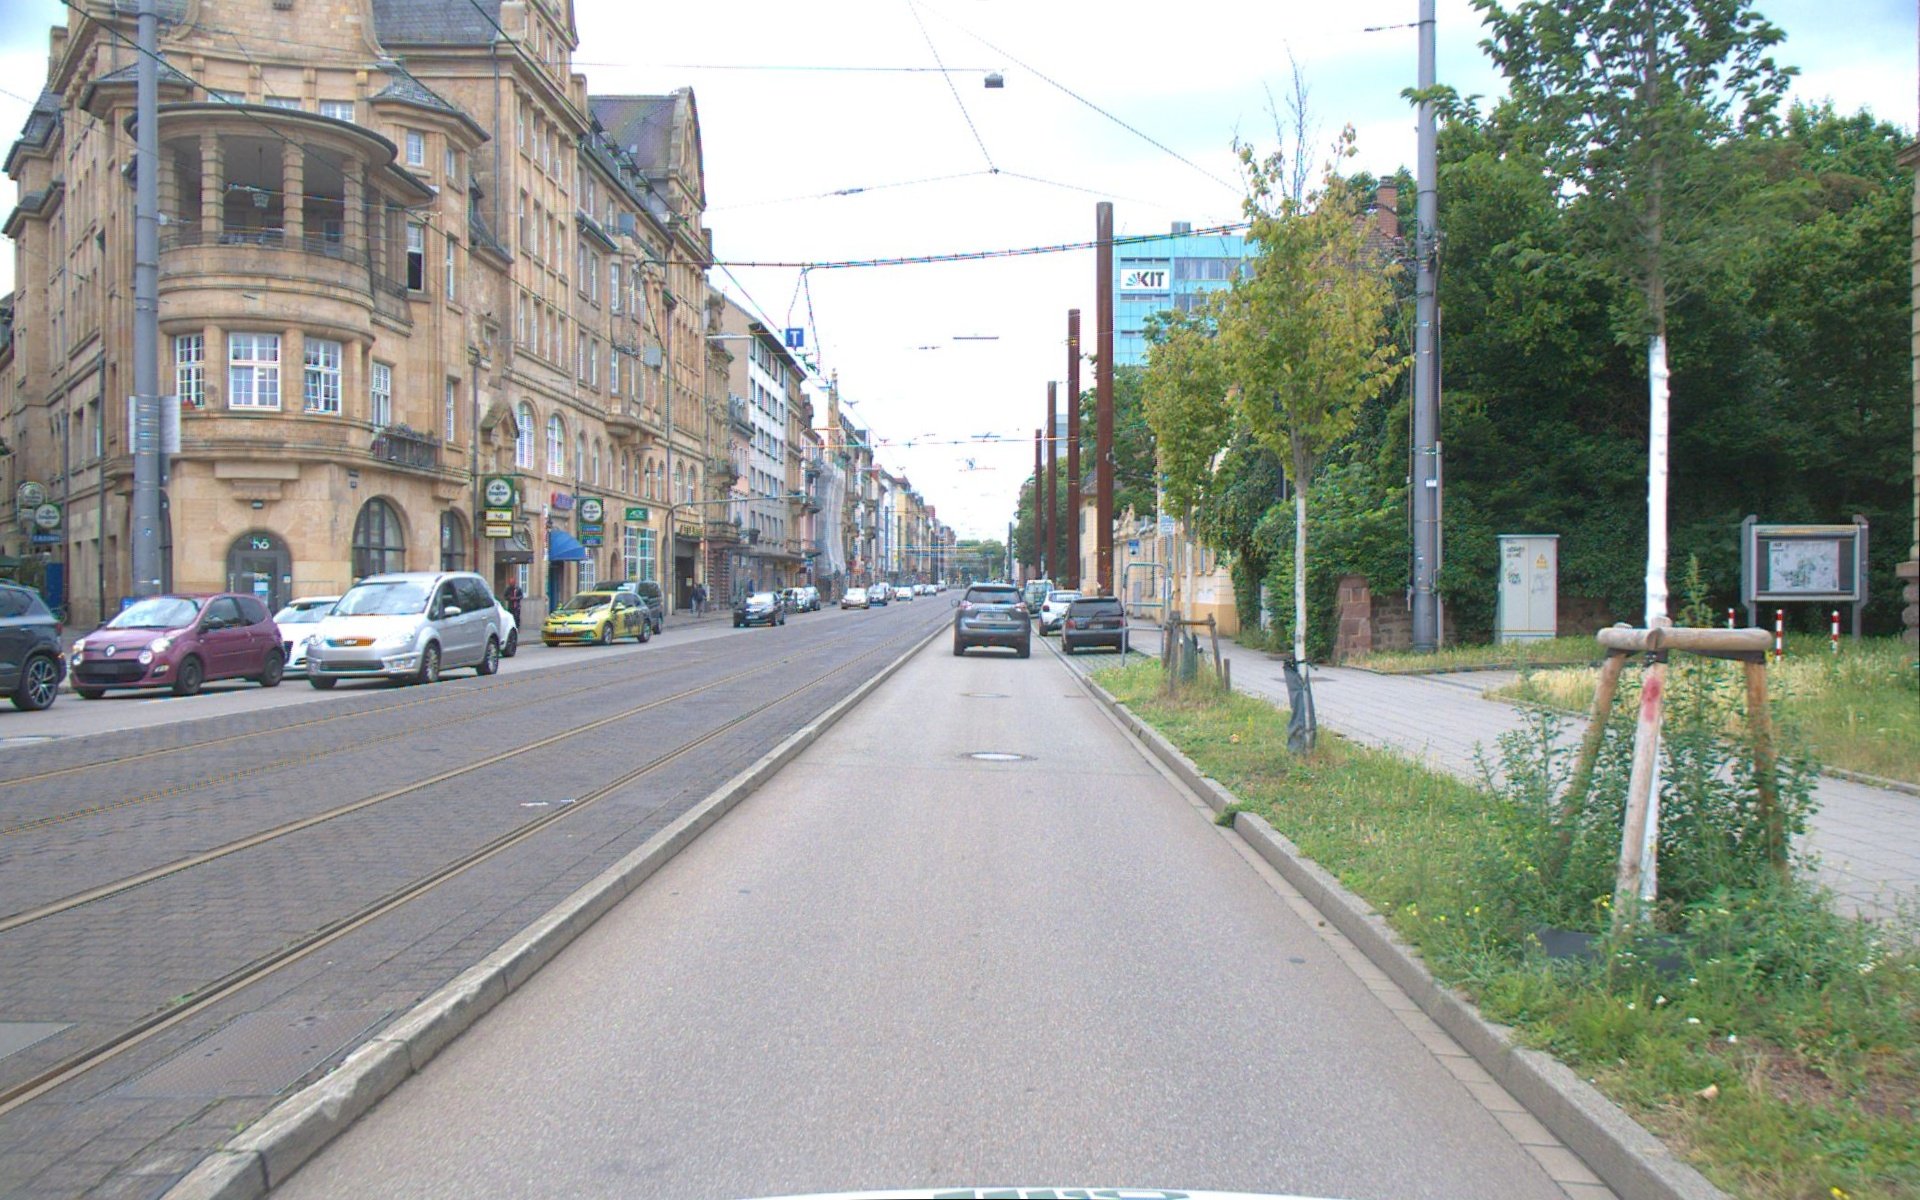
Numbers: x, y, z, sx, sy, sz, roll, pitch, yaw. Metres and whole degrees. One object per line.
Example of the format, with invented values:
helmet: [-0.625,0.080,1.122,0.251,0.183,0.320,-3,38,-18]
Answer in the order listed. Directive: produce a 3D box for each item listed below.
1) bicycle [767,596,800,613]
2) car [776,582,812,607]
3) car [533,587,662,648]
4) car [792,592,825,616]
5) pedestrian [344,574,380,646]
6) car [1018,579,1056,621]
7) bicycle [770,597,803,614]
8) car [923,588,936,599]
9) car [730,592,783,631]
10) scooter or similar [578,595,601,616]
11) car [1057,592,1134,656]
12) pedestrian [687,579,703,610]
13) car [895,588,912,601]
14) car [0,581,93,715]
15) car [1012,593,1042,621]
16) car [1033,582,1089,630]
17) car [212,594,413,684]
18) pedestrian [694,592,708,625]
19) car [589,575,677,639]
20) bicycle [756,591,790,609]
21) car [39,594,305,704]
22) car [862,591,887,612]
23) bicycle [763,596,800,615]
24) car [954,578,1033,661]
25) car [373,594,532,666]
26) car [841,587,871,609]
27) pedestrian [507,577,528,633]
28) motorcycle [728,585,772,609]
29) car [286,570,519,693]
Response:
bicycle: [-10.544,0.263,98.774,1.928,1.018,0.462,0,0,-7]
car: [-10.414,-0.384,104.052,1.739,1.531,4.402,0,1,1]
car: [-9.904,0.444,45.538,1.858,1.537,4.432,-1,1,10]
car: [-10.104,0.260,110.782,1.739,1.531,4.402,0,1,1]
pedestrian: [-14.620,0.231,40.438,0.618,1.749,0.532,0,0,27]
car: [4.158,-0.018,90.101,1.813,2.152,4.985,-2,0,1]
bicycle: [-10.467,0.321,99.743,1.928,1.018,0.462,0,0,-7]
car: [-4.708,-1.028,252.909,1.953,1.663,3.998,1,0,-2]
car: [-8.304,0.448,67.639,1.791,1.458,4.664,-2,1,-3]
scooter or similar: [-14.694,0.210,65.619,0.569,0.816,1.346,0,1,1]
car: [3.372,0.557,41.750,1.604,1.458,3.931,-2,1,1]
pedestrian: [-14.040,-0.276,87.632,0.671,1.641,0.742,0,0,1]
car: [-6.114,-0.608,180.187,1.652,1.445,4.135,0,1,1]
car: [-12.115,0.589,18.873,1.823,1.561,4.305,-2,0,6]
car: [4.235,0.446,104.800,1.713,1.623,3.924,-2,1,1]
car: [3.533,0.182,58.310,1.719,1.602,3.931,-2,1,1]
car: [-11.489,0.637,29.674,1.710,1.404,4.363,-2,0,2]
pedestrian: [-12.839,0.399,82.123,0.556,1.626,0.718,0,0,1]
car: [-11.095,0.188,56.480,1.860,2.011,5.098,-2,1,1]
bicycle: [-10.736,0.020,95.122,1.928,1.018,0.462,0,0,-7]
car: [-11.529,0.662,24.514,1.824,1.423,3.897,-2,0,4]
car: [-7.001,0.100,135.203,1.723,1.701,4.615,0,1,1]
bicycle: [-10.852,0.311,100.470,2.188,1.146,0.503,0,0,-7]
car: [0.802,0.419,39.438,1.713,1.786,3.924,3,1,1]
car: [-10.918,0.605,35.891,1.886,1.404,4.260,0,1,4]
car: [-7.246,-0.131,116.035,1.723,1.474,4.615,0,1,1]
pedestrian: [-14.117,0.150,52.827,0.484,1.758,0.765,0,0,-2]
motorcycle: [-11.613,-0.185,91.606,2.317,1.325,0.872,0,0,-36]
car: [-8.621,0.423,26.094,1.824,1.735,4.911,-1,1,2]
